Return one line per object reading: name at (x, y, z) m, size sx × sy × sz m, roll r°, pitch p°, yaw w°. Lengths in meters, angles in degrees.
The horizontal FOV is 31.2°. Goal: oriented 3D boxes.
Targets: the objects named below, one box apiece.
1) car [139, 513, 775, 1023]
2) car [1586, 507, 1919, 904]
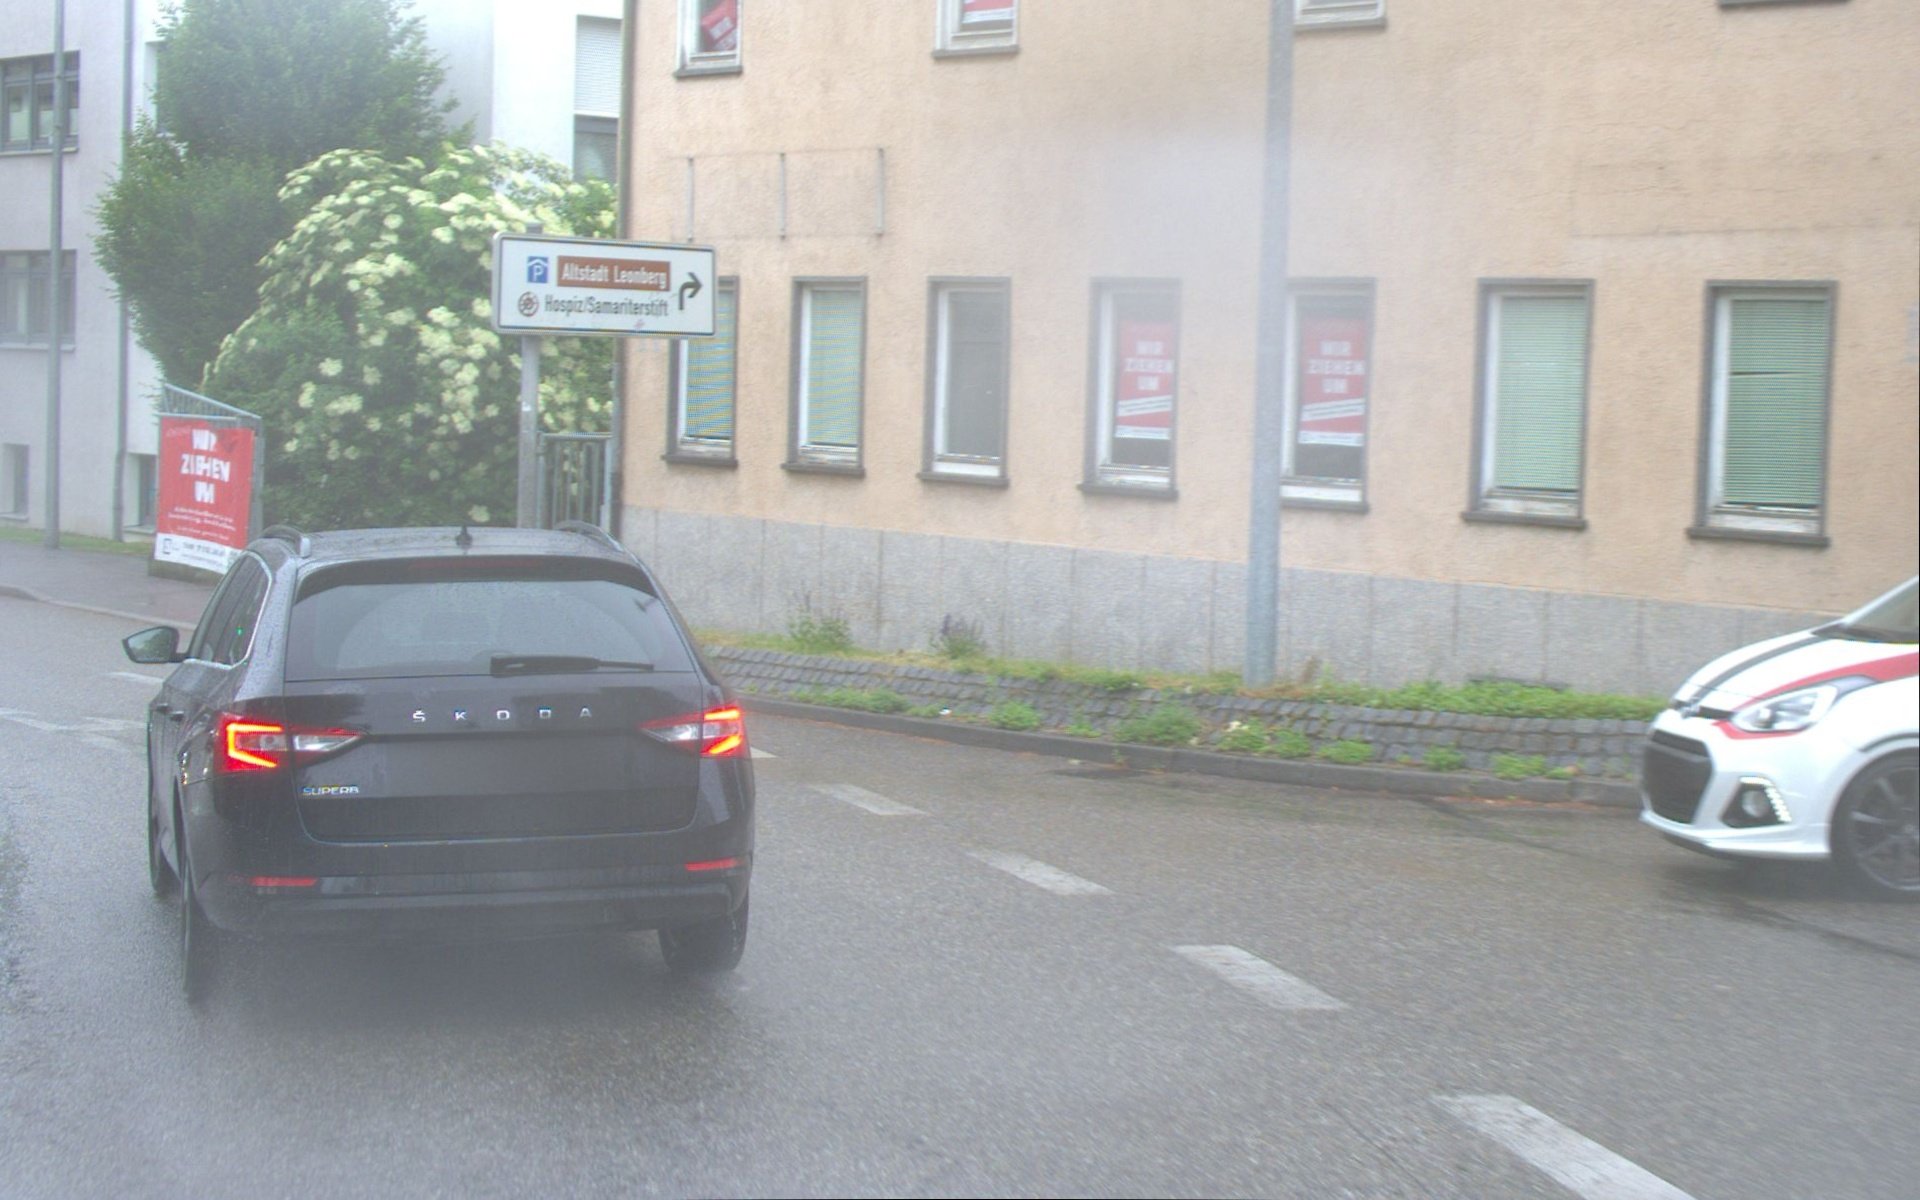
car at (-1.962, 0.487, 12.242) m, size 1.781 × 1.478 × 4.247 m, roll 0°, pitch 0°, yaw -15°
car at (4.615, 0.372, 13.950) m, size 3.750 × 1.448 × 1.713 m, roll 0°, pitch 3°, yaw -4°
